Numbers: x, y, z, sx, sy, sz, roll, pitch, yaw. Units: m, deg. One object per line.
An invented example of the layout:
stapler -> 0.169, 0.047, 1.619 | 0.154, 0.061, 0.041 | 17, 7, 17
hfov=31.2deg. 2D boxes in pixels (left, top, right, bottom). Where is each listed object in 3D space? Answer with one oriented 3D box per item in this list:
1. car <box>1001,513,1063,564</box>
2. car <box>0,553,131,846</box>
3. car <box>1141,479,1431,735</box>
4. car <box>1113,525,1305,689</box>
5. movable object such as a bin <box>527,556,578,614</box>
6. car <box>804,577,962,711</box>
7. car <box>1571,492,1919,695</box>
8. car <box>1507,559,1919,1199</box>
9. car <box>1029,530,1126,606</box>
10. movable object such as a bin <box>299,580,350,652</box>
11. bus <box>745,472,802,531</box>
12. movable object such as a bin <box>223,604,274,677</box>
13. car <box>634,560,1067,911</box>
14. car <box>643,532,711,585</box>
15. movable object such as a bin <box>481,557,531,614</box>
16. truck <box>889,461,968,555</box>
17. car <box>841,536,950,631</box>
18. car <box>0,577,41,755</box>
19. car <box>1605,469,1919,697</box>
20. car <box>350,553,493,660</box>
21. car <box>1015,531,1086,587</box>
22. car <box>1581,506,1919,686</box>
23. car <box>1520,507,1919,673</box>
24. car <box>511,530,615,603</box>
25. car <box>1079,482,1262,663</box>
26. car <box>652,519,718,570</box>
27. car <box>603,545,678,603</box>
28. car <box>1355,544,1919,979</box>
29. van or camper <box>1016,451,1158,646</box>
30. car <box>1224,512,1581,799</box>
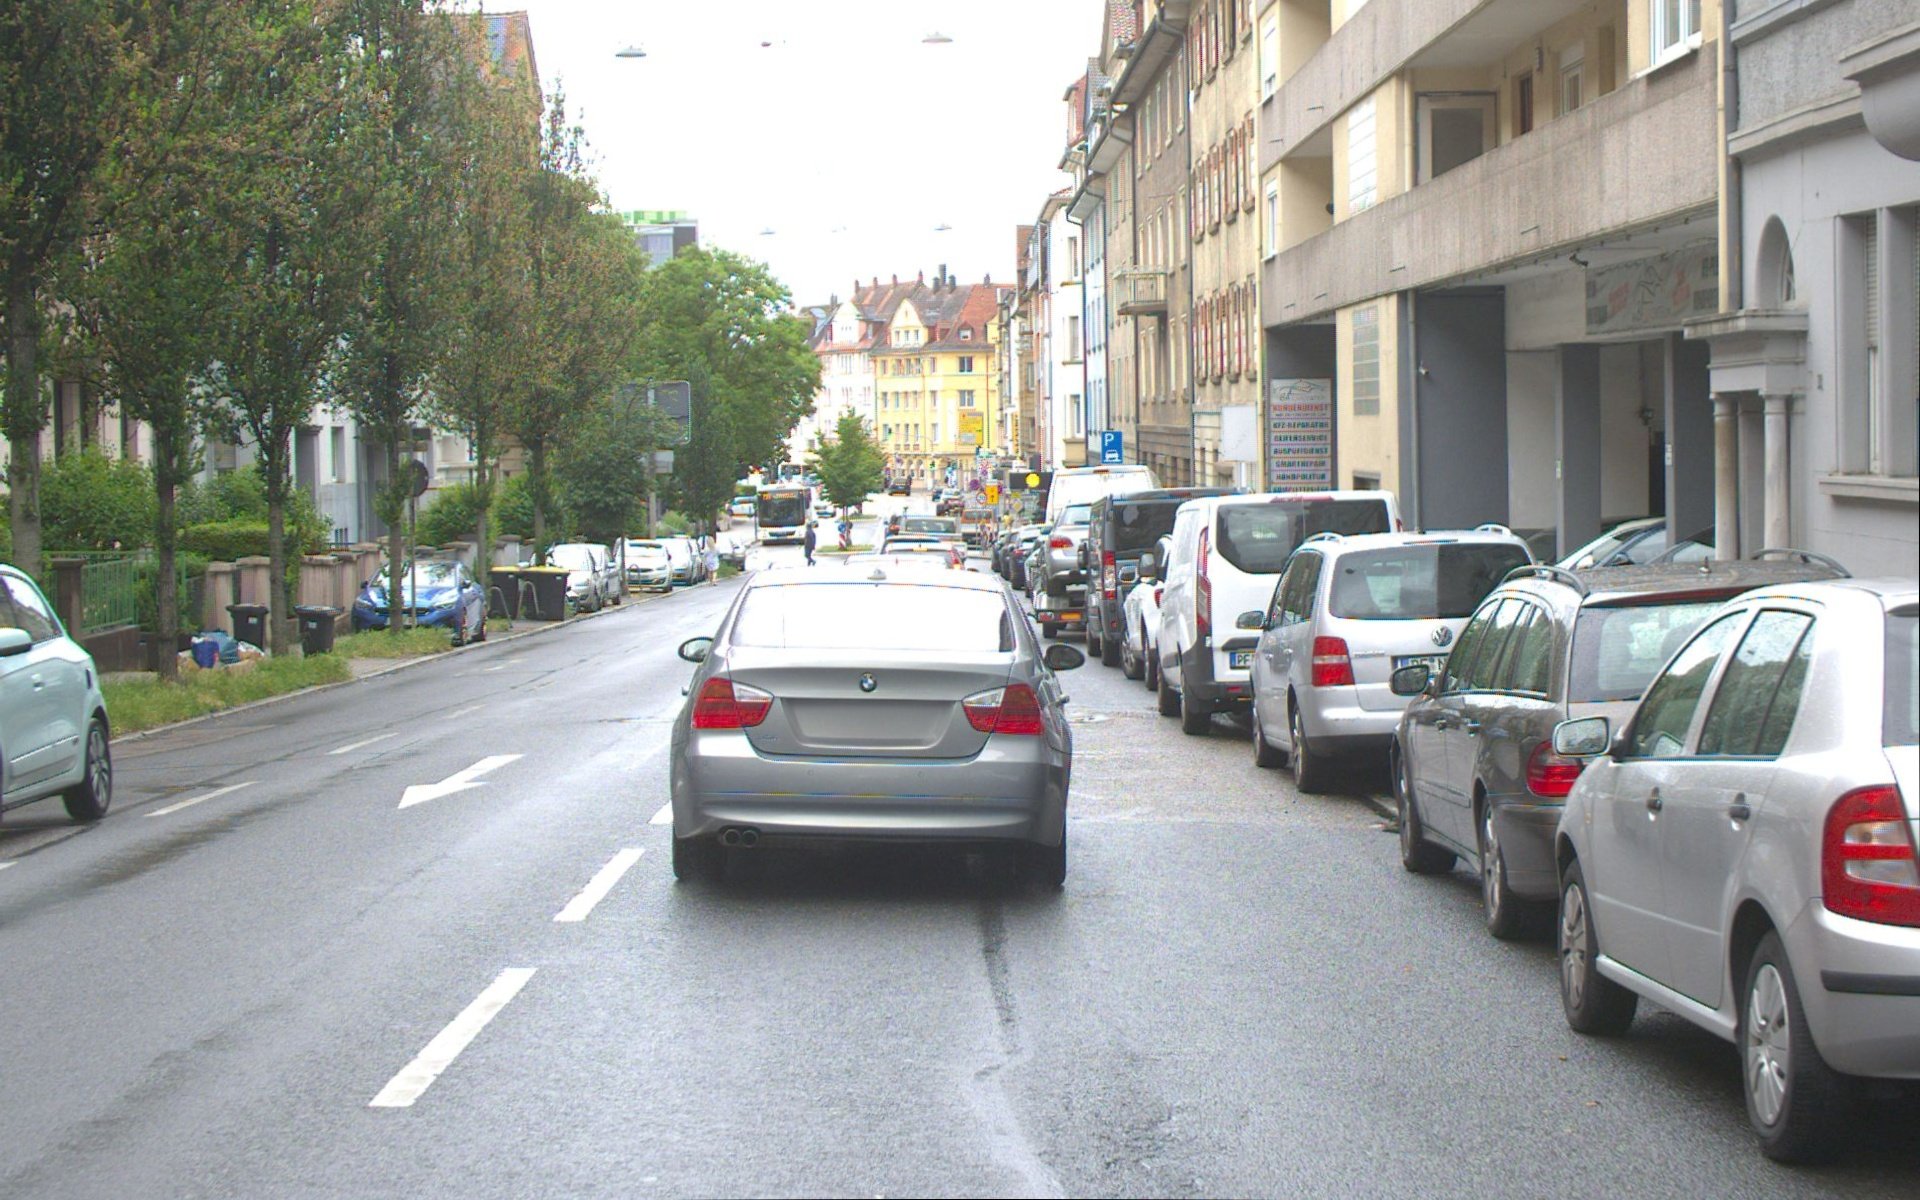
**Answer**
car -> 2.138, -1.841, 102.963 | 1.697, 1.478, 3.976 | 1, 1, -1
car -> -5.820, 0.550, 18.753 | 1.636, 1.503, 3.755 | -3, 1, 0
car -> 2.738, 0.011, 29.914 | 1.982, 2.000, 4.625 | -2, 1, -1
car -> 2.691, 0.030, 38.004 | 1.726, 1.664, 4.289 | -2, 1, -1
movable object such as a bin -> -8.355, -0.318, 70.512 | 0.935, 1.164, 0.909 | 0, 1, 0
car -> -0.847, 0.469, 39.707 | 1.682, 1.423, 3.741 | 1, 1, 1
car -> 7.774, -0.078, 31.140 | 4.327, 1.720, 1.908 | -1, 3, 12
car -> 2.704, 0.638, 9.761 | 1.611, 1.469, 4.016 | 0, 1, -1
car -> 2.335, -0.647, 69.070 | 1.697, 1.478, 3.976 | 1, 1, -1
movable object such as a bin -> -8.202, 0.202, 44.365 | 0.574, 0.909, 0.640 | -2, 1, -14
bus -> -10.047, -5.288, 185.679 | 2.668, 3.014, 7.671 | -2, 1, -1
movable object such as a bin -> -9.141, 0.517, 44.158 | 0.574, 0.909, 0.640 | -2, 1, -14
car -> -0.431, 0.540, 16.055 | 1.769, 1.423, 3.741 | 1, 1, 1
car -> -8.692, -1.291, 105.944 | 1.691, 1.518, 3.736 | -3, 1, 1
movable object such as a bin -> -9.310, -0.303, 70.502 | 0.902, 1.164, 0.895 | 0, 1, 0
truck -> -0.864, -2.423, 91.485 | 2.032, 2.404, 4.827 | 1, 1, -1
car -> -1.052, -0.279, 55.860 | 1.697, 1.478, 3.794 | 1, 1, -1
car -> -8.864, 0.544, 27.811 | 1.726, 1.478, 3.989 | 1, 1, 0
car -> 7.673, -0.168, 28.576 | 4.329, 1.798, 2.005 | 0, 3, 17
car -> -8.807, 0.072, 56.487 | 1.766, 1.588, 4.000 | -3, 1, -2
car -> 2.432, -1.105, 93.046 | 1.697, 1.478, 3.976 | 1, 1, -1
car -> 8.222, -0.058, 33.249 | 4.289, 1.635, 1.666 | -1, 3, 12
car -> 8.148, -0.116, 36.362 | 4.289, 1.635, 1.666 | -1, 3, 12
car -> -8.999, -0.784, 78.108 | 1.827, 1.518, 3.736 | -3, 1, 1
car -> 2.665, -0.384, 44.561 | 1.982, 2.158, 4.750 | -2, 1, -1
car -> -8.809, -1.788, 110.311 | 1.691, 1.518, 3.736 | -3, 1, 1
car -> -9.148, -0.767, 98.543 | 1.691, 1.518, 3.736 | -3, 1, 1
car -> 2.979, 0.555, 15.038 | 1.900, 1.473, 4.799 | -3, 1, 1
van or camper -> 2.102, -0.846, 55.187 | 2.033, 2.859, 6.884 | 2, 1, 3
car -> 2.861, 0.300, 23.087 | 1.726, 1.664, 4.289 | -3, 1, 0
